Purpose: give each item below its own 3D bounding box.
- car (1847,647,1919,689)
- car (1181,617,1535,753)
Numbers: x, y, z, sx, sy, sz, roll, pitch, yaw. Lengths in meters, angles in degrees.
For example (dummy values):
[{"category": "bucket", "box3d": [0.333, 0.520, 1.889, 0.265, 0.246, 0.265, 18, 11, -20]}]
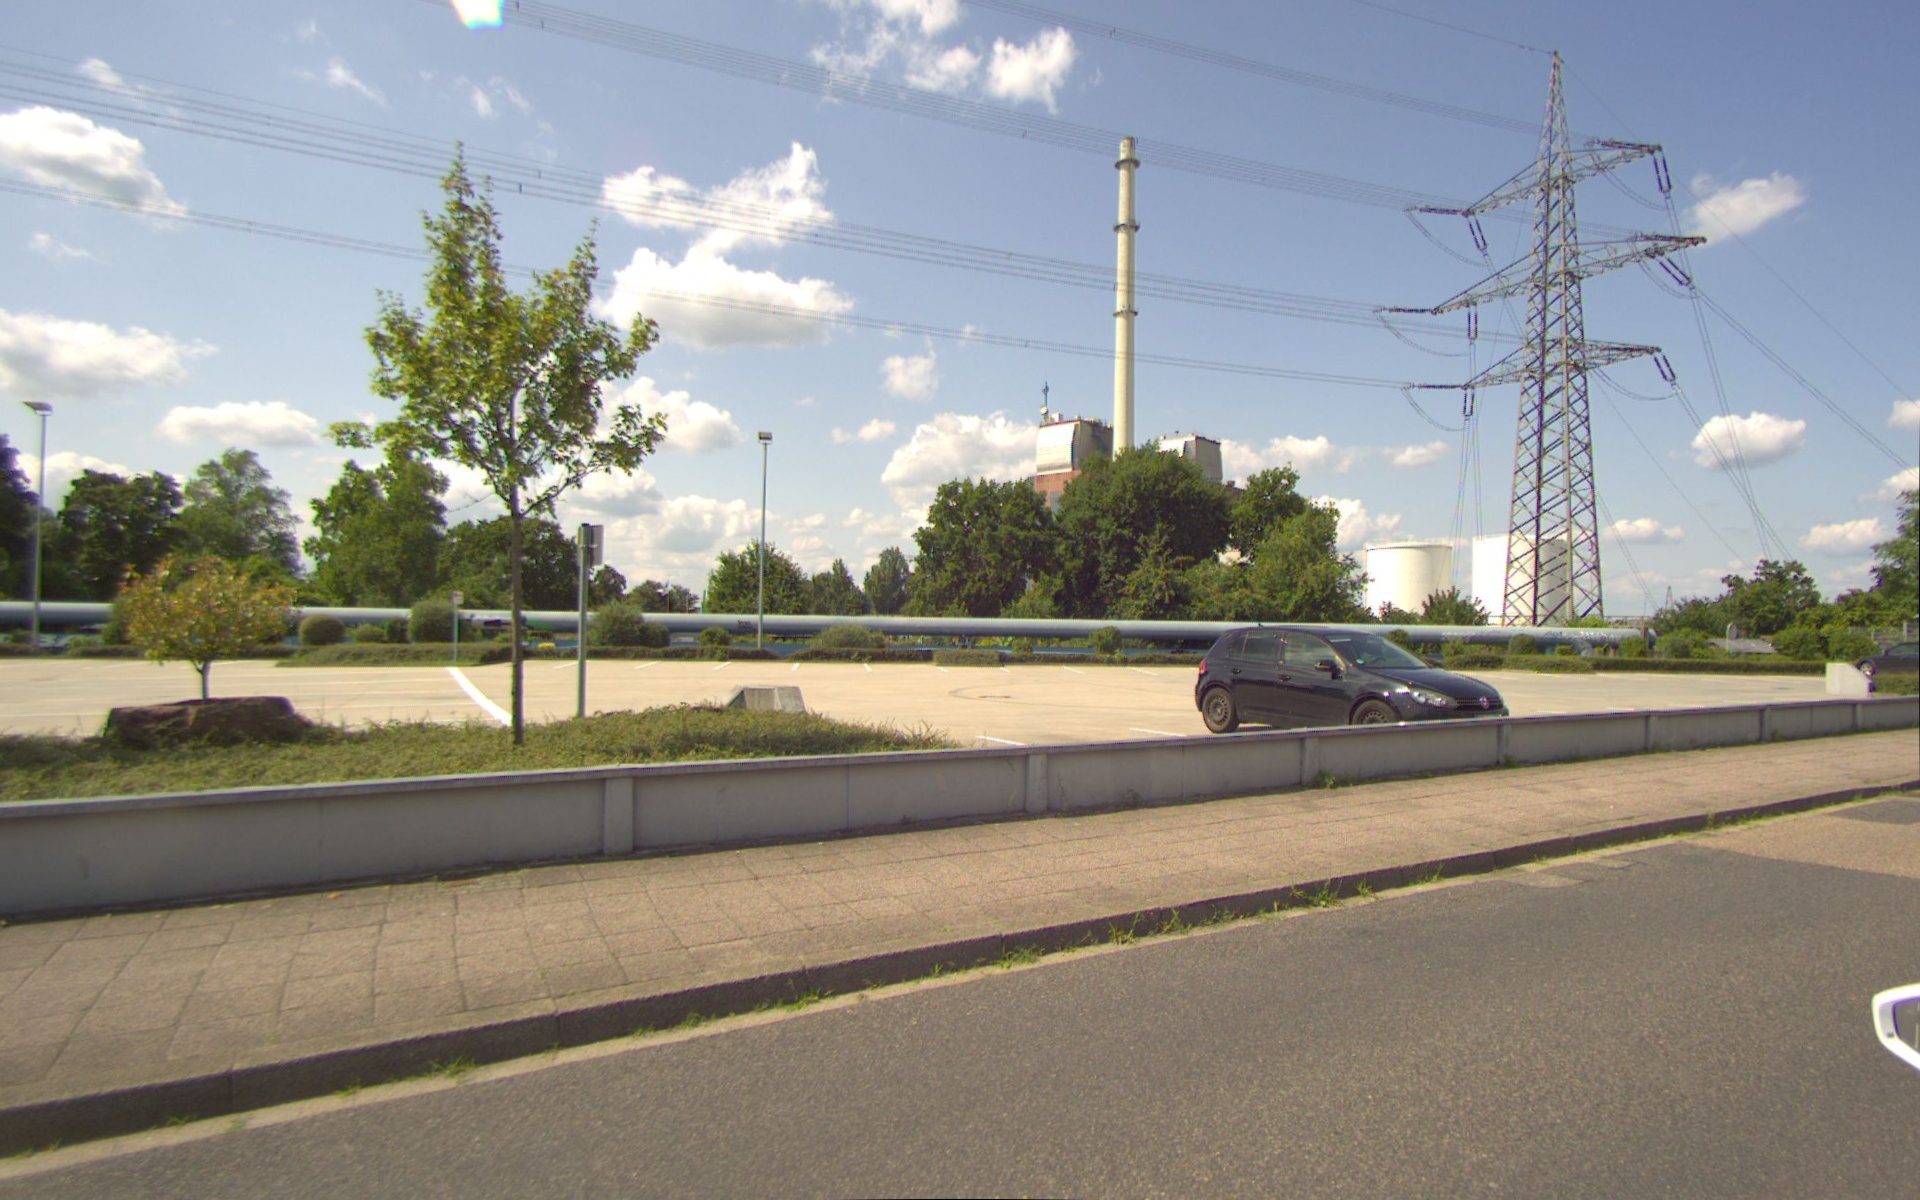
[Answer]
[{"category": "car", "box3d": [34.581, 2.478, 36.271, 1.767, 1.396, 4.002, 2, -1, 4]}, {"category": "car", "box3d": [4.870, 0.963, 12.857, 1.782, 1.394, 3.969, 2, -1, -29]}]
